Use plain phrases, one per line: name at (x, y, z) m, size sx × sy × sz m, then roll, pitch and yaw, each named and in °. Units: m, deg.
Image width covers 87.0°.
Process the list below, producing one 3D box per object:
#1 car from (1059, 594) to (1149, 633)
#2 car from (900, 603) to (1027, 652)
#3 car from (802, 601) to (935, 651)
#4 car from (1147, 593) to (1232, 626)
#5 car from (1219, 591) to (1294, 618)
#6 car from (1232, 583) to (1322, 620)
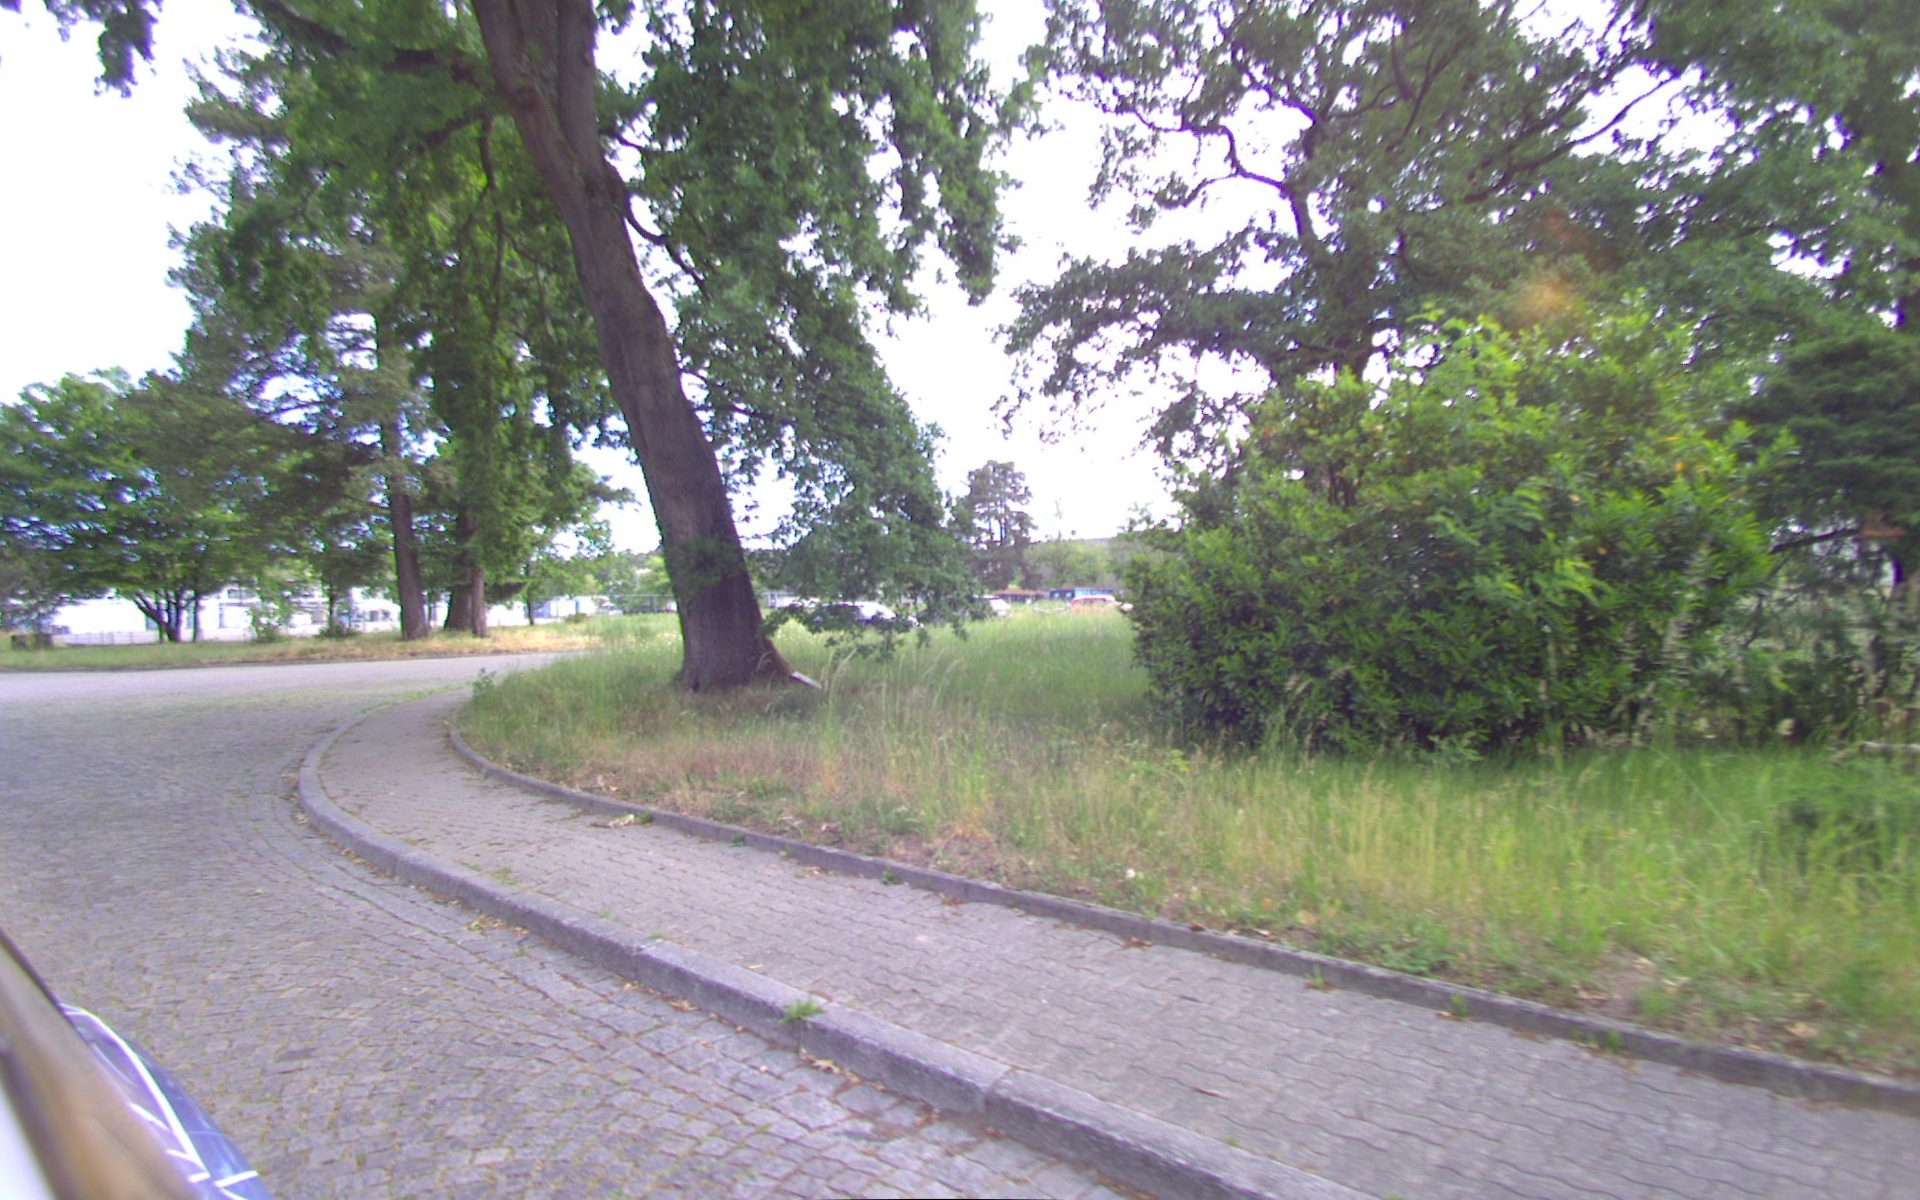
car at (6.199, 0.586, 43.821) m, size 3.496 × 1.493 × 1.581 m, roll -4°, pitch -2°, yaw 39°
car at (0.084, 0.989, 35.761) m, size 4.361 × 1.574 × 1.741 m, roll -3°, pitch -1°, yaw 39°
car at (-2.973, 0.848, 32.219) m, size 4.355 × 1.415 × 1.739 m, roll -3°, pitch -1°, yaw 43°
car at (11.199, 0.457, 49.493) m, size 3.659 × 1.432 × 1.557 m, roll -4°, pitch -1°, yaw 39°
car at (16.584, 0.264, 56.621) m, size 3.691 × 1.349 × 1.563 m, roll -4°, pitch -1°, yaw 39°
car at (18.267, 0.087, 58.453) m, size 4.540 × 1.916 × 1.770 m, roll -4°, pitch -2°, yaw 39°
